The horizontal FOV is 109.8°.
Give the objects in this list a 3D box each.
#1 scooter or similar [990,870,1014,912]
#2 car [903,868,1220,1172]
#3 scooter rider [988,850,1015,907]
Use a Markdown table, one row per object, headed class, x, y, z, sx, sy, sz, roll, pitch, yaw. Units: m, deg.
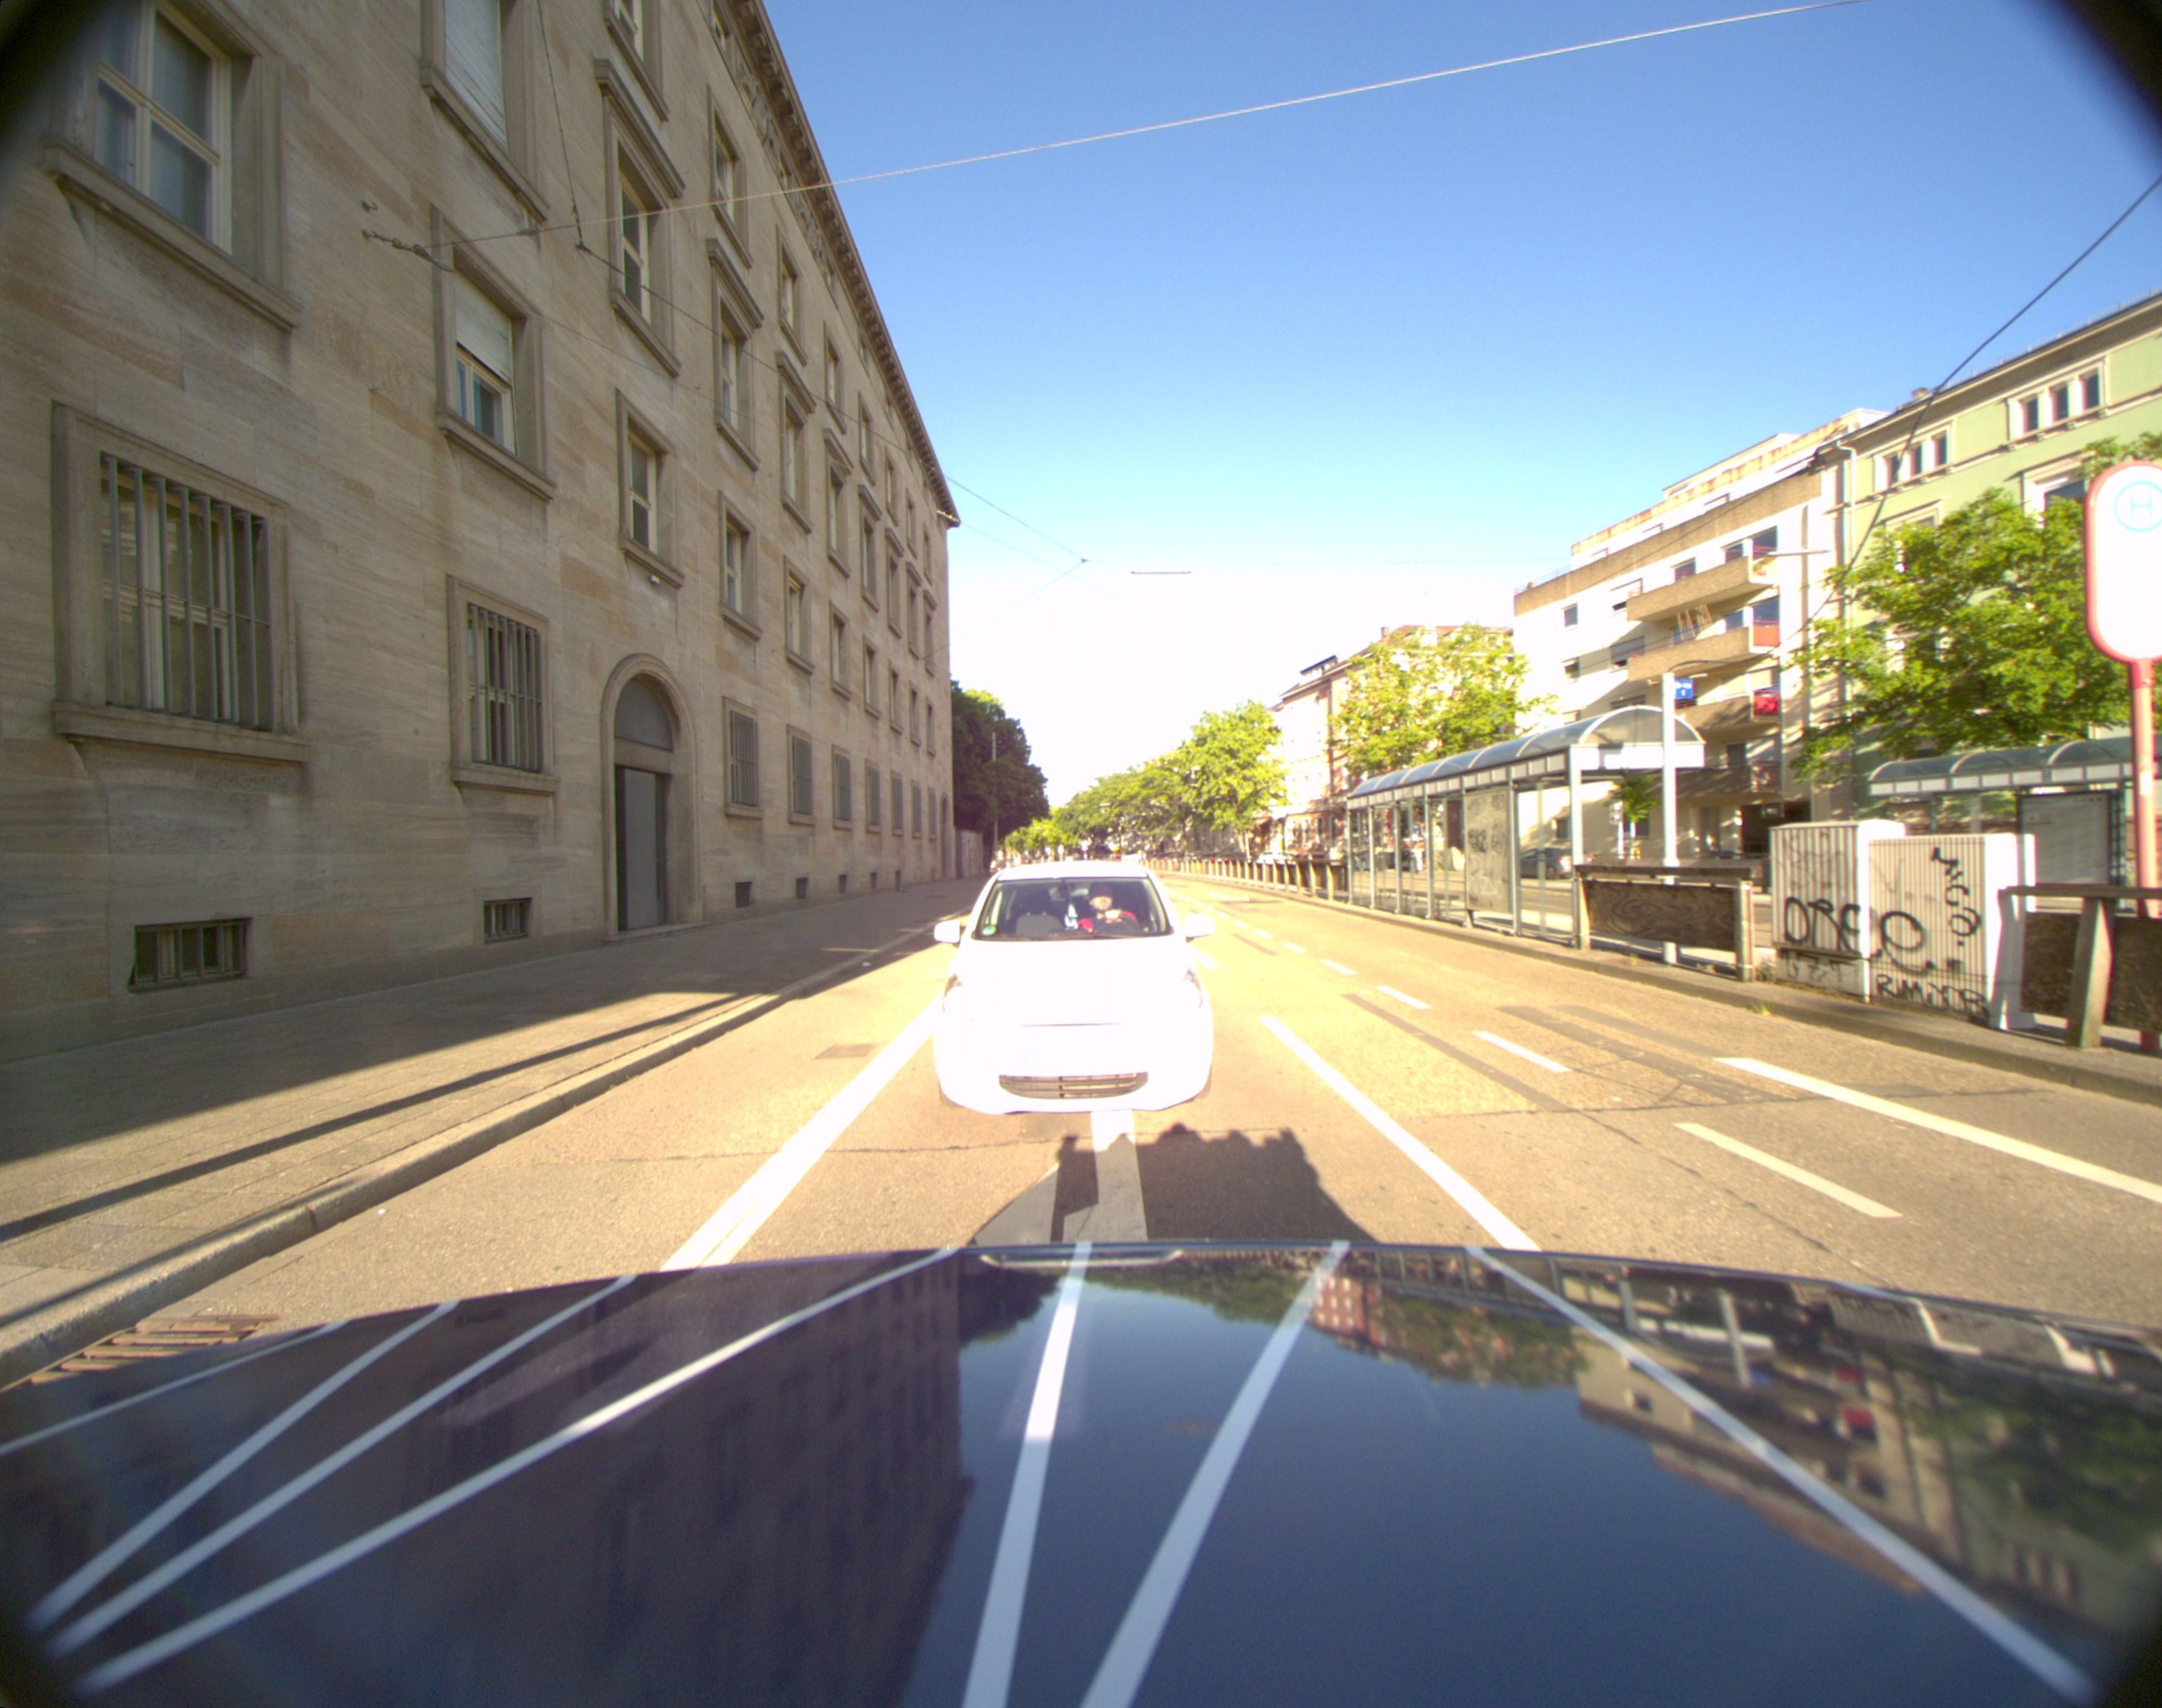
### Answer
| class | x | y | z | sx | sy | sz | roll | pitch | yaw |
| --- | --- | --- | --- | --- | --- | --- | --- | --- | --- |
| scooter or similar | -2.323 | 1.074 | 22.404 | 0.536 | 1.178 | 1.328 | -1 | 0 | 0 |
| car | -0.076 | 0.908 | 5.795 | 1.612 | 1.462 | 3.631 | -2 | 0 | 1 |
| scooter rider | -2.334 | 0.714 | 22.340 | 0.731 | 1.661 | 0.556 | -1 | 1 | -1 |
